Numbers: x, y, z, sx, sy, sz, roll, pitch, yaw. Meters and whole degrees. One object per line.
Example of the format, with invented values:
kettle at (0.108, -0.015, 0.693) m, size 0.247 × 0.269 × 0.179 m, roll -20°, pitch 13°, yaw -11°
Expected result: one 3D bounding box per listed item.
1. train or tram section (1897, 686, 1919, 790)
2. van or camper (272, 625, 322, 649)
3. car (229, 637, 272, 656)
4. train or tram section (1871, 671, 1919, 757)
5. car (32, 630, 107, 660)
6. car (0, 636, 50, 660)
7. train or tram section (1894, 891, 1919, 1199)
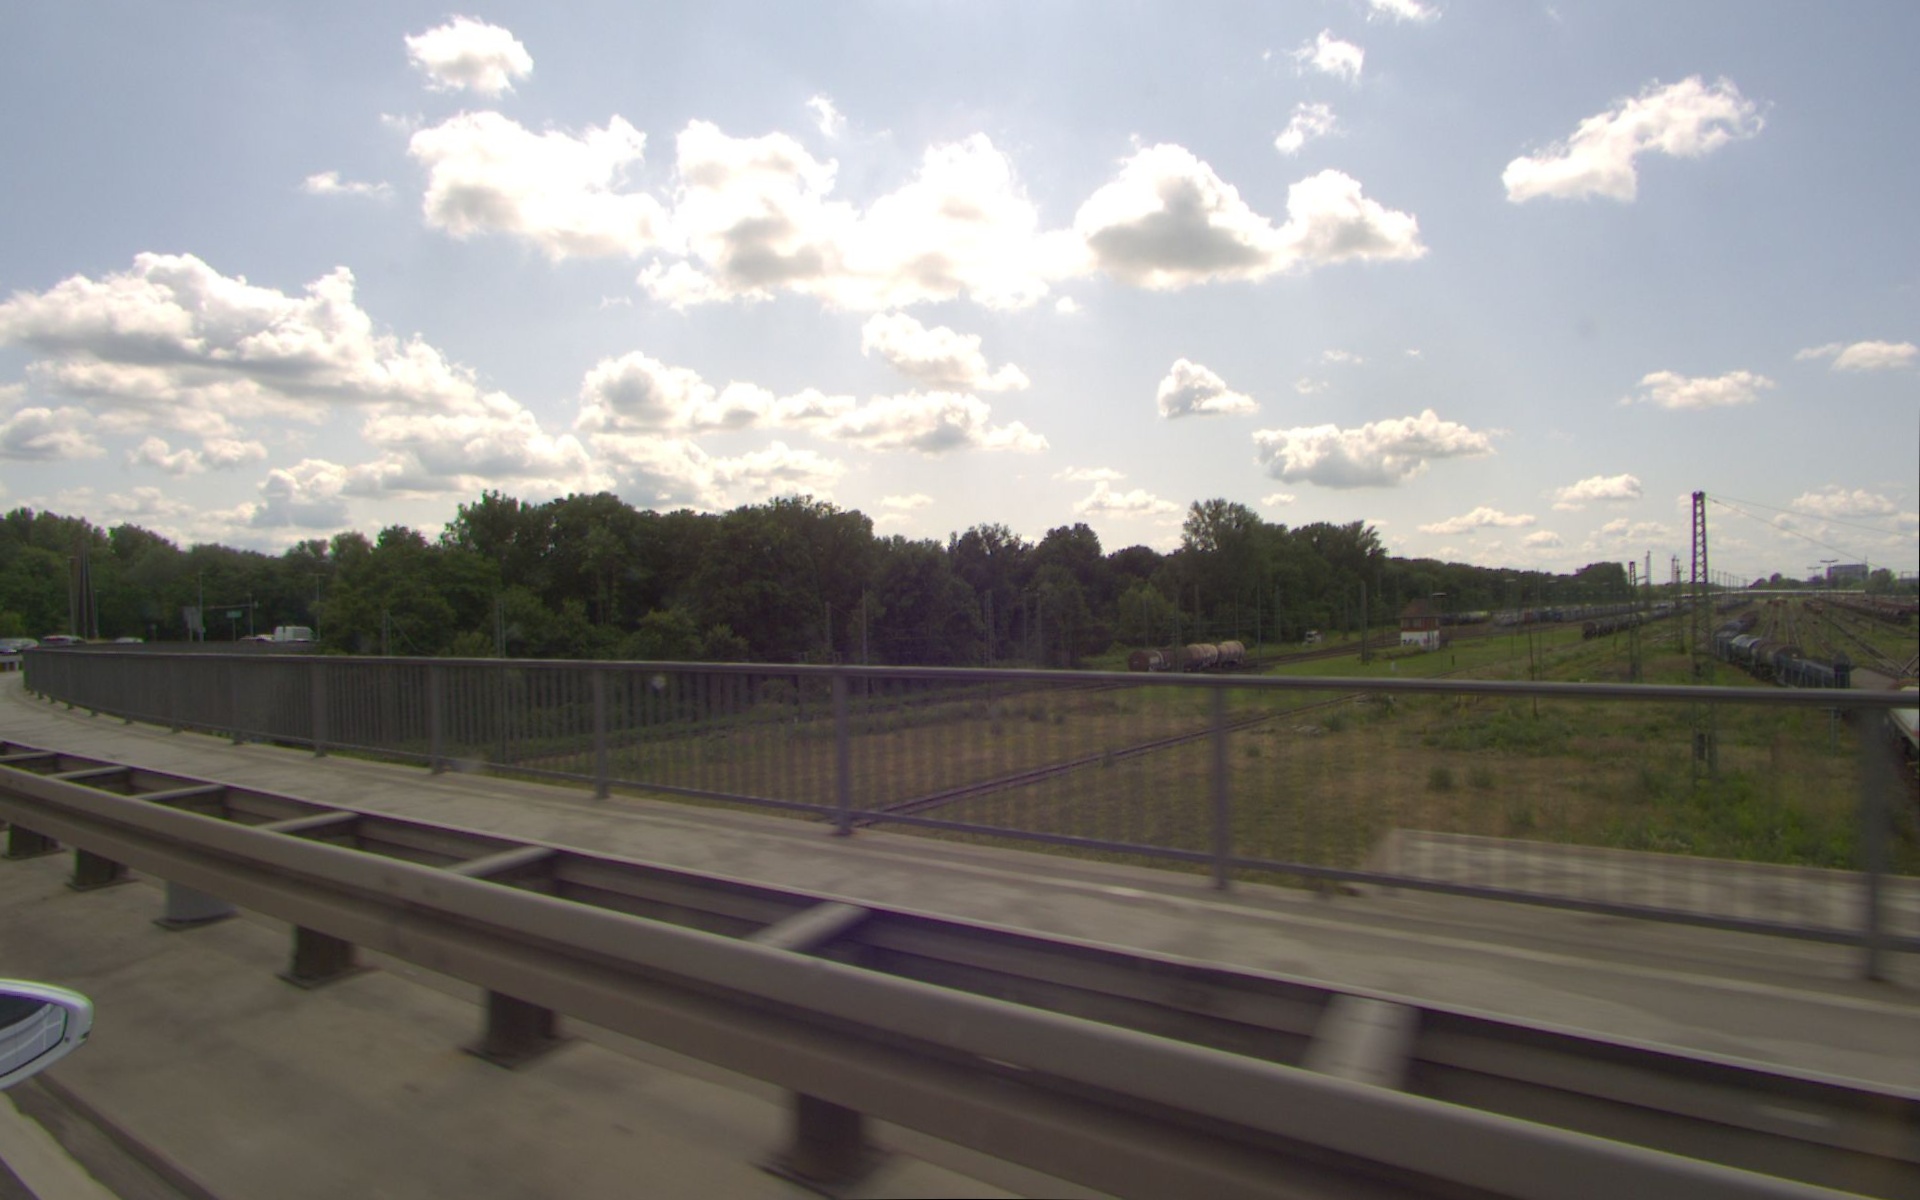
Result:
train or tram section at (52.596, 7.225, 53.181) m, size 3.184 × 4.204 × 16.826 m, roll -5°, pitch -3°, yaw 41°
van or camper at (-69.770, 3.884, 105.487) m, size 2.237 × 2.370 × 5.241 m, roll 1°, pitch -2°, yaw -7°
car at (-63.653, 4.159, 89.887) m, size 1.707 × 1.672 × 3.853 m, roll 1°, pitch -2°, yaw -12°
train or tram section at (63.579, 7.316, 66.572) m, size 3.176 × 4.204 × 17.564 m, roll -5°, pitch -3°, yaw 39°
car at (-52.332, 2.617, 58.931) m, size 1.795 × 1.672 × 3.850 m, roll 1°, pitch -2°, yaw -17°
car at (-61.747, 3.147, 65.491) m, size 1.794 × 1.470 × 4.722 m, roll 1°, pitch -2°, yaw -23°
train or tram section at (18.586, 7.407, 17.010) m, size 11.945 × 4.204 × 3.102 m, roll -1°, pitch -3°, yaw -44°
